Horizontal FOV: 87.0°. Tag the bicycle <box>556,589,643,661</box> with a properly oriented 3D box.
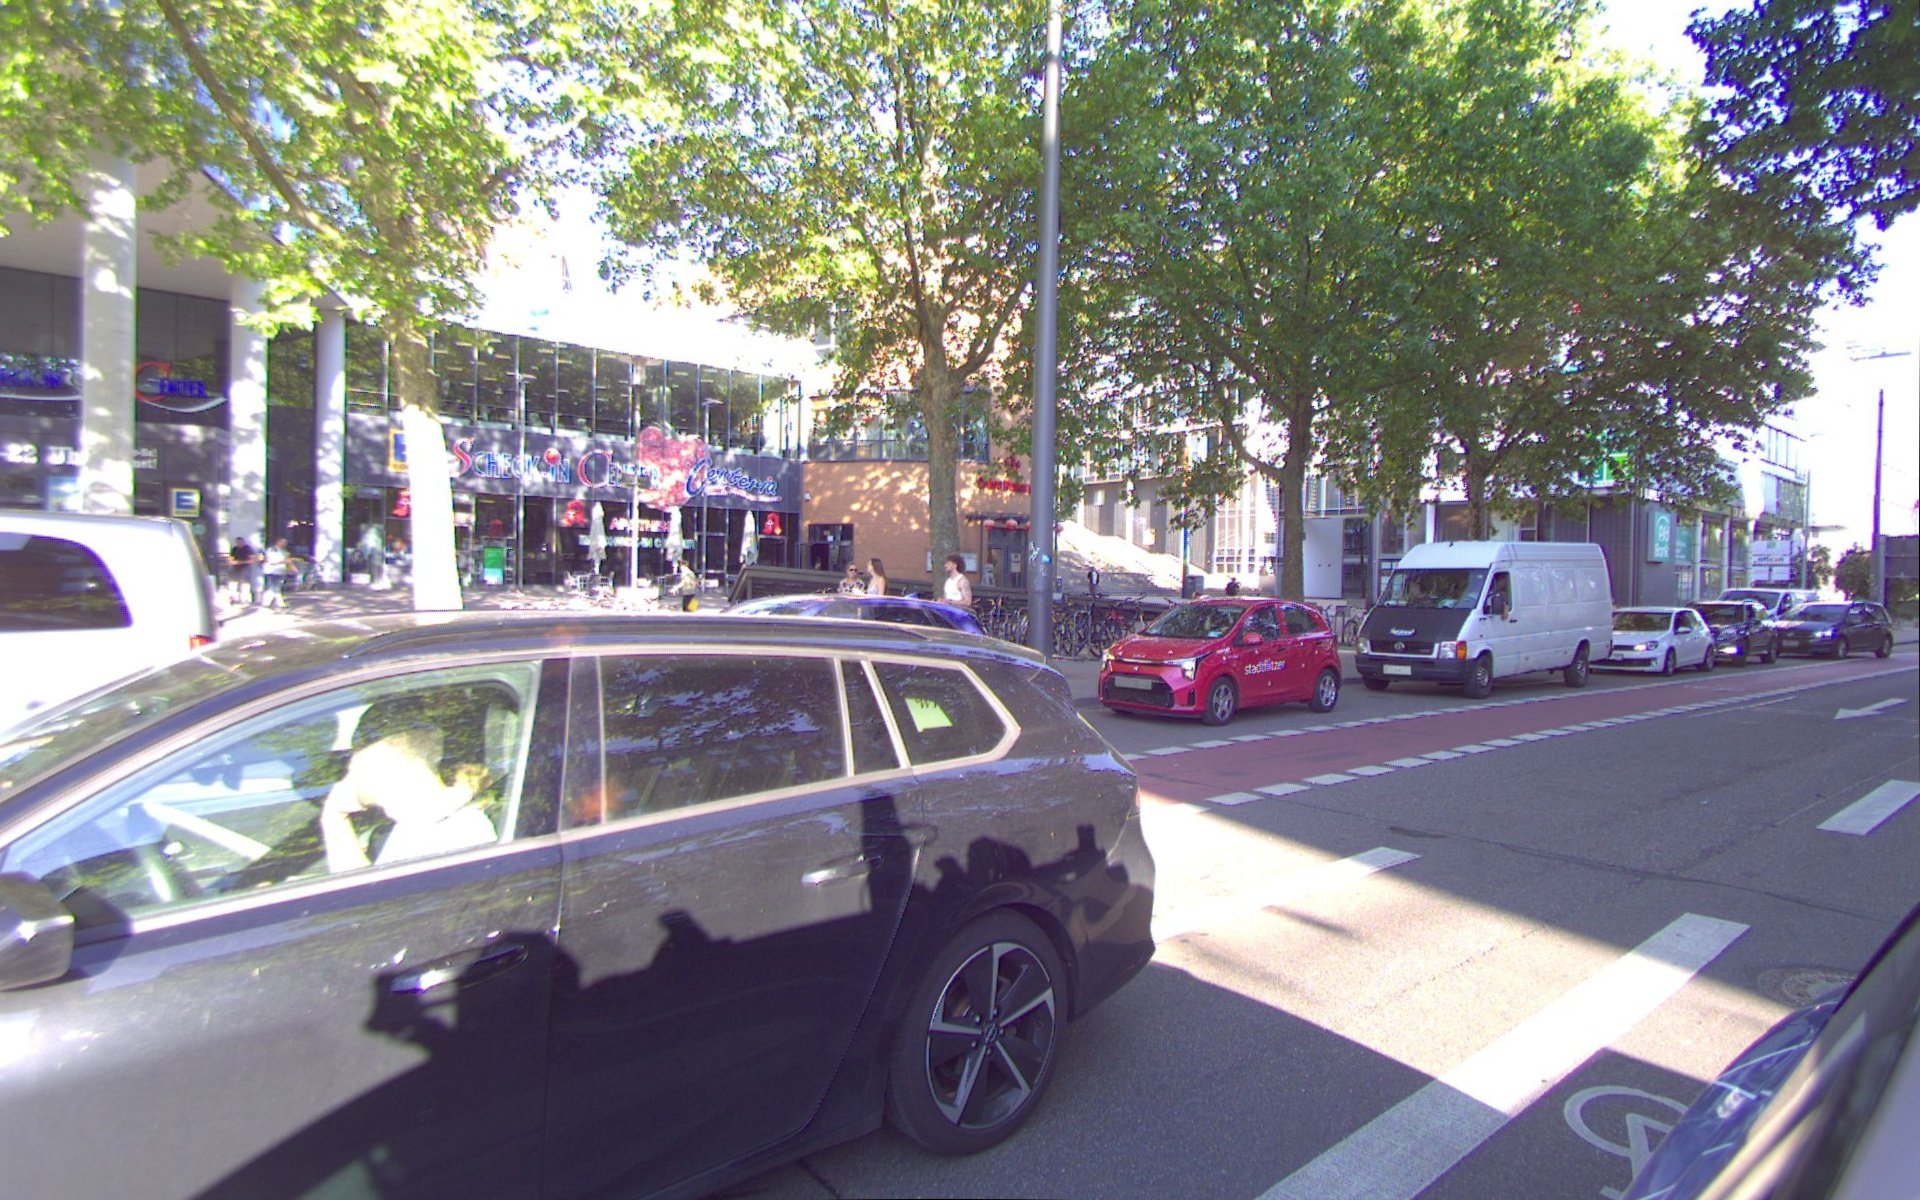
[{"bbox_3d":[-5.778,0.380,16.245,0.414,1.110,1.269,2,1,41],"label":"bicycle"}]

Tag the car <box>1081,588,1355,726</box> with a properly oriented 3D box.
[{"bbox_3d":[3.347,0.609,12.829,3.588,1.476,1.605,0,1,-41],"label":"car"}]

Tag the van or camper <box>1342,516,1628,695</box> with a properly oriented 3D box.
[{"bbox_3d":[9.285,0.070,17.545,6.456,2.611,1.998,0,0,-39],"label":"van or camper"}]

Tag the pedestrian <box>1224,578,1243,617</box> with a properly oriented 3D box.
[{"bbox_3d":[11.266,-0.115,41.736,0.707,1.578,0.638,1,1,14],"label":"pedestrian"}]

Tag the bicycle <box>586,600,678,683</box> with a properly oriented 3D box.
[{"bbox_3d":[-4.582,0.565,14.176,1.202,1.110,0.269,0,1,-40],"label":"bicycle"}]

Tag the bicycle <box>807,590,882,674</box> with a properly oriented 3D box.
[{"bbox_3d":[-1.798,0.482,15.794,1.126,1.271,0.379,0,1,-41],"label":"bicycle"}]

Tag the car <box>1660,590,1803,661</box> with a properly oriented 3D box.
[{"bbox_3d":[19.702,0.592,25.789,4.148,1.640,1.819,0,1,-36],"label":"car"}]

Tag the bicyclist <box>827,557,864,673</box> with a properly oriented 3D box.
[{"bbox_3d":[-1.790,0.228,15.798,0.392,1.782,0.390,0,1,-41],"label":"bicyclist"}]

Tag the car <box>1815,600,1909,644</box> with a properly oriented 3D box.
[{"bbox_3d":[31.893,0.736,35.748,3.927,1.394,1.802,0,2,-38],"label":"car"}]

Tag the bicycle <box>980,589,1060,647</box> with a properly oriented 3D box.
[{"bbox_3d":[1.254,0.353,20.964,1.818,1.139,0.484,0,2,-41],"label":"bicycle"}]

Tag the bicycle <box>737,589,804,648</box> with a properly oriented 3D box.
[{"bbox_3d":[-3.644,0.344,19.501,1.202,1.110,0.444,0,1,-40],"label":"bicycle"}]

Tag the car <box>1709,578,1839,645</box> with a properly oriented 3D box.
[{"bbox_3d":[26.449,0.346,32.839,4.863,2.020,1.968,0,1,-35],"label":"car"}]

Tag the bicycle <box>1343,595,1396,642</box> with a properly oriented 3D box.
[{"bbox_3d":[11.032,0.479,27.227,1.818,1.209,0.521,0,2,-41],"label":"bicycle"}]

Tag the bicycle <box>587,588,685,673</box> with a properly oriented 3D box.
[{"bbox_3d":[-4.437,0.400,13.879,1.202,1.110,0.413,0,1,-40],"label":"bicycle"}]

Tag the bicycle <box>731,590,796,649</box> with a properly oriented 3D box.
[{"bbox_3d":[-3.889,0.374,20.044,1.202,1.110,0.429,0,1,-40],"label":"bicycle"}]

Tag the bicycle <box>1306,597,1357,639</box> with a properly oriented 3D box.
[{"bbox_3d":[10.308,0.485,28.038,1.766,1.108,0.522,0,2,-41],"label":"bicycle"}]

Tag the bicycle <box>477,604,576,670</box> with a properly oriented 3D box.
[{"bbox_3d":[-6.240,0.519,14.592,1.231,0.898,0.462,0,1,-40],"label":"bicycle"}]

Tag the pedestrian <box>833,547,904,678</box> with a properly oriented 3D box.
[{"bbox_3d":[-1.293,0.164,14.335,0.646,1.799,0.753,2,1,40],"label":"pedestrian"}]

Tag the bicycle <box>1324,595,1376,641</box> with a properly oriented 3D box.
[{"bbox_3d":[10.663,0.486,27.626,1.818,1.209,0.495,0,1,-41],"label":"bicycle"}]

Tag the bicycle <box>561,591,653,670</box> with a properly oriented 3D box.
[{"bbox_3d":[-5.159,0.425,14.835,1.202,1.110,0.396,0,1,-40],"label":"bicycle"}]

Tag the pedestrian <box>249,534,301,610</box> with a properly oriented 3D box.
[{"bbox_3d":[-16.585,-0.674,24.517,0.869,1.805,0.604,1,1,-8],"label":"pedestrian"}]

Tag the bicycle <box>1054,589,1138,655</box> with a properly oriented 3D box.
[{"bbox_3d":[2.620,0.400,19.360,1.818,1.209,0.481,0,1,-41],"label":"bicycle"}]

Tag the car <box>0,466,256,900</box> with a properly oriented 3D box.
[{"bbox_3d":[-6.204,0.357,4.385,5.008,2.004,1.940,0,2,-41],"label":"car"}]

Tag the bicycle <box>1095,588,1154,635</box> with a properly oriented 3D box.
[{"bbox_3d":[4.404,0.307,27.043,1.759,1.209,0.517,0,2,-41],"label":"bicycle"}]

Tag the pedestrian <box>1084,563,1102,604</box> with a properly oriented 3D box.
[{"bbox_3d":[6.784,-0.829,51.642,0.861,2.062,0.585,1,1,6],"label":"pedestrian"}]

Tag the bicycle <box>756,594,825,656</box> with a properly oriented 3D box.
[{"bbox_3d":[-3.142,0.445,18.810,1.202,1.110,0.427,0,1,-40],"label":"bicycle"}]

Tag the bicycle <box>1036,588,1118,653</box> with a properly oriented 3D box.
[{"bbox_3d":[2.297,0.389,19.745,1.818,1.209,0.448,0,1,-41],"label":"bicycle"}]

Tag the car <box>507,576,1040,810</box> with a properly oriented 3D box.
[{"bbox_3d":[-1.409,0.590,8.654,4.177,1.503,1.742,0,2,-41],"label":"car"}]

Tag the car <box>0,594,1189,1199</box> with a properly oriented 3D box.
[{"bbox_3d":[-1.424,0.704,2.464,4.196,1.432,1.742,0,0,-41],"label":"car"}]

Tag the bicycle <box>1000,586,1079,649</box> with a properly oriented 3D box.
[{"bbox_3d":[1.628,0.340,20.515,1.818,1.209,0.447,0,1,-41],"label":"bicycle"}]

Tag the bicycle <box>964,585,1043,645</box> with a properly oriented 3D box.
[{"bbox_3d":[0.934,0.298,21.343,1.818,1.209,0.458,0,1,-41],"label":"bicycle"}]

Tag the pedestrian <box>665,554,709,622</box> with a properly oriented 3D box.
[{"bbox_3d":[-7.042,-0.317,26.102,0.798,1.728,0.712,2,1,24],"label":"pedestrian"}]

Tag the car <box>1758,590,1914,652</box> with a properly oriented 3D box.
[{"bbox_3d":[25.237,0.582,29.140,4.242,1.640,1.970,0,1,-28],"label":"car"}]

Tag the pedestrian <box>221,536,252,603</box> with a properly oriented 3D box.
[{"bbox_3d":[-18.739,-0.800,26.216,0.506,1.707,0.604,1,1,-23],"label":"pedestrian"}]

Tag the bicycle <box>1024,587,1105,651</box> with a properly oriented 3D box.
[{"bbox_3d":[2.109,0.363,20.254,1.818,1.209,0.484,0,1,-41],"label":"bicycle"}]

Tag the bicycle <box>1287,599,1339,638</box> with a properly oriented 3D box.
[{"bbox_3d":[9.925,0.507,28.449,1.818,1.046,0.515,0,2,-41],"label":"bicycle"}]

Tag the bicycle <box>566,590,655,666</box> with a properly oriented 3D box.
[{"bbox_3d":[-5.361,0.407,15.584,0.372,1.110,1.269,2,1,41],"label":"bicycle"}]

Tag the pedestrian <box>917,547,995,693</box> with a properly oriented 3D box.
[{"bbox_3d":[-0.055,0.241,13.457,0.642,1.868,0.801,2,1,44],"label":"pedestrian"}]

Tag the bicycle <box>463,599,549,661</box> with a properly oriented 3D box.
[{"bbox_3d":[-7.122,0.464,15.916,1.198,0.938,0.465,1,1,-22],"label":"bicycle"}]

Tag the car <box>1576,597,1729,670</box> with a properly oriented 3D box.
[{"bbox_3d":[15.266,0.679,22.247,3.927,1.446,1.683,0,1,-38],"label":"car"}]

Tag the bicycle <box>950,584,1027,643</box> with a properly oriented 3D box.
[{"bbox_3d":[0.636,0.272,21.696,1.818,1.209,0.434,0,1,-41],"label":"bicycle"}]

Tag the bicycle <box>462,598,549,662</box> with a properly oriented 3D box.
[{"bbox_3d":[-6.960,0.454,15.538,1.198,0.930,0.442,1,1,-22],"label":"bicycle"}]
